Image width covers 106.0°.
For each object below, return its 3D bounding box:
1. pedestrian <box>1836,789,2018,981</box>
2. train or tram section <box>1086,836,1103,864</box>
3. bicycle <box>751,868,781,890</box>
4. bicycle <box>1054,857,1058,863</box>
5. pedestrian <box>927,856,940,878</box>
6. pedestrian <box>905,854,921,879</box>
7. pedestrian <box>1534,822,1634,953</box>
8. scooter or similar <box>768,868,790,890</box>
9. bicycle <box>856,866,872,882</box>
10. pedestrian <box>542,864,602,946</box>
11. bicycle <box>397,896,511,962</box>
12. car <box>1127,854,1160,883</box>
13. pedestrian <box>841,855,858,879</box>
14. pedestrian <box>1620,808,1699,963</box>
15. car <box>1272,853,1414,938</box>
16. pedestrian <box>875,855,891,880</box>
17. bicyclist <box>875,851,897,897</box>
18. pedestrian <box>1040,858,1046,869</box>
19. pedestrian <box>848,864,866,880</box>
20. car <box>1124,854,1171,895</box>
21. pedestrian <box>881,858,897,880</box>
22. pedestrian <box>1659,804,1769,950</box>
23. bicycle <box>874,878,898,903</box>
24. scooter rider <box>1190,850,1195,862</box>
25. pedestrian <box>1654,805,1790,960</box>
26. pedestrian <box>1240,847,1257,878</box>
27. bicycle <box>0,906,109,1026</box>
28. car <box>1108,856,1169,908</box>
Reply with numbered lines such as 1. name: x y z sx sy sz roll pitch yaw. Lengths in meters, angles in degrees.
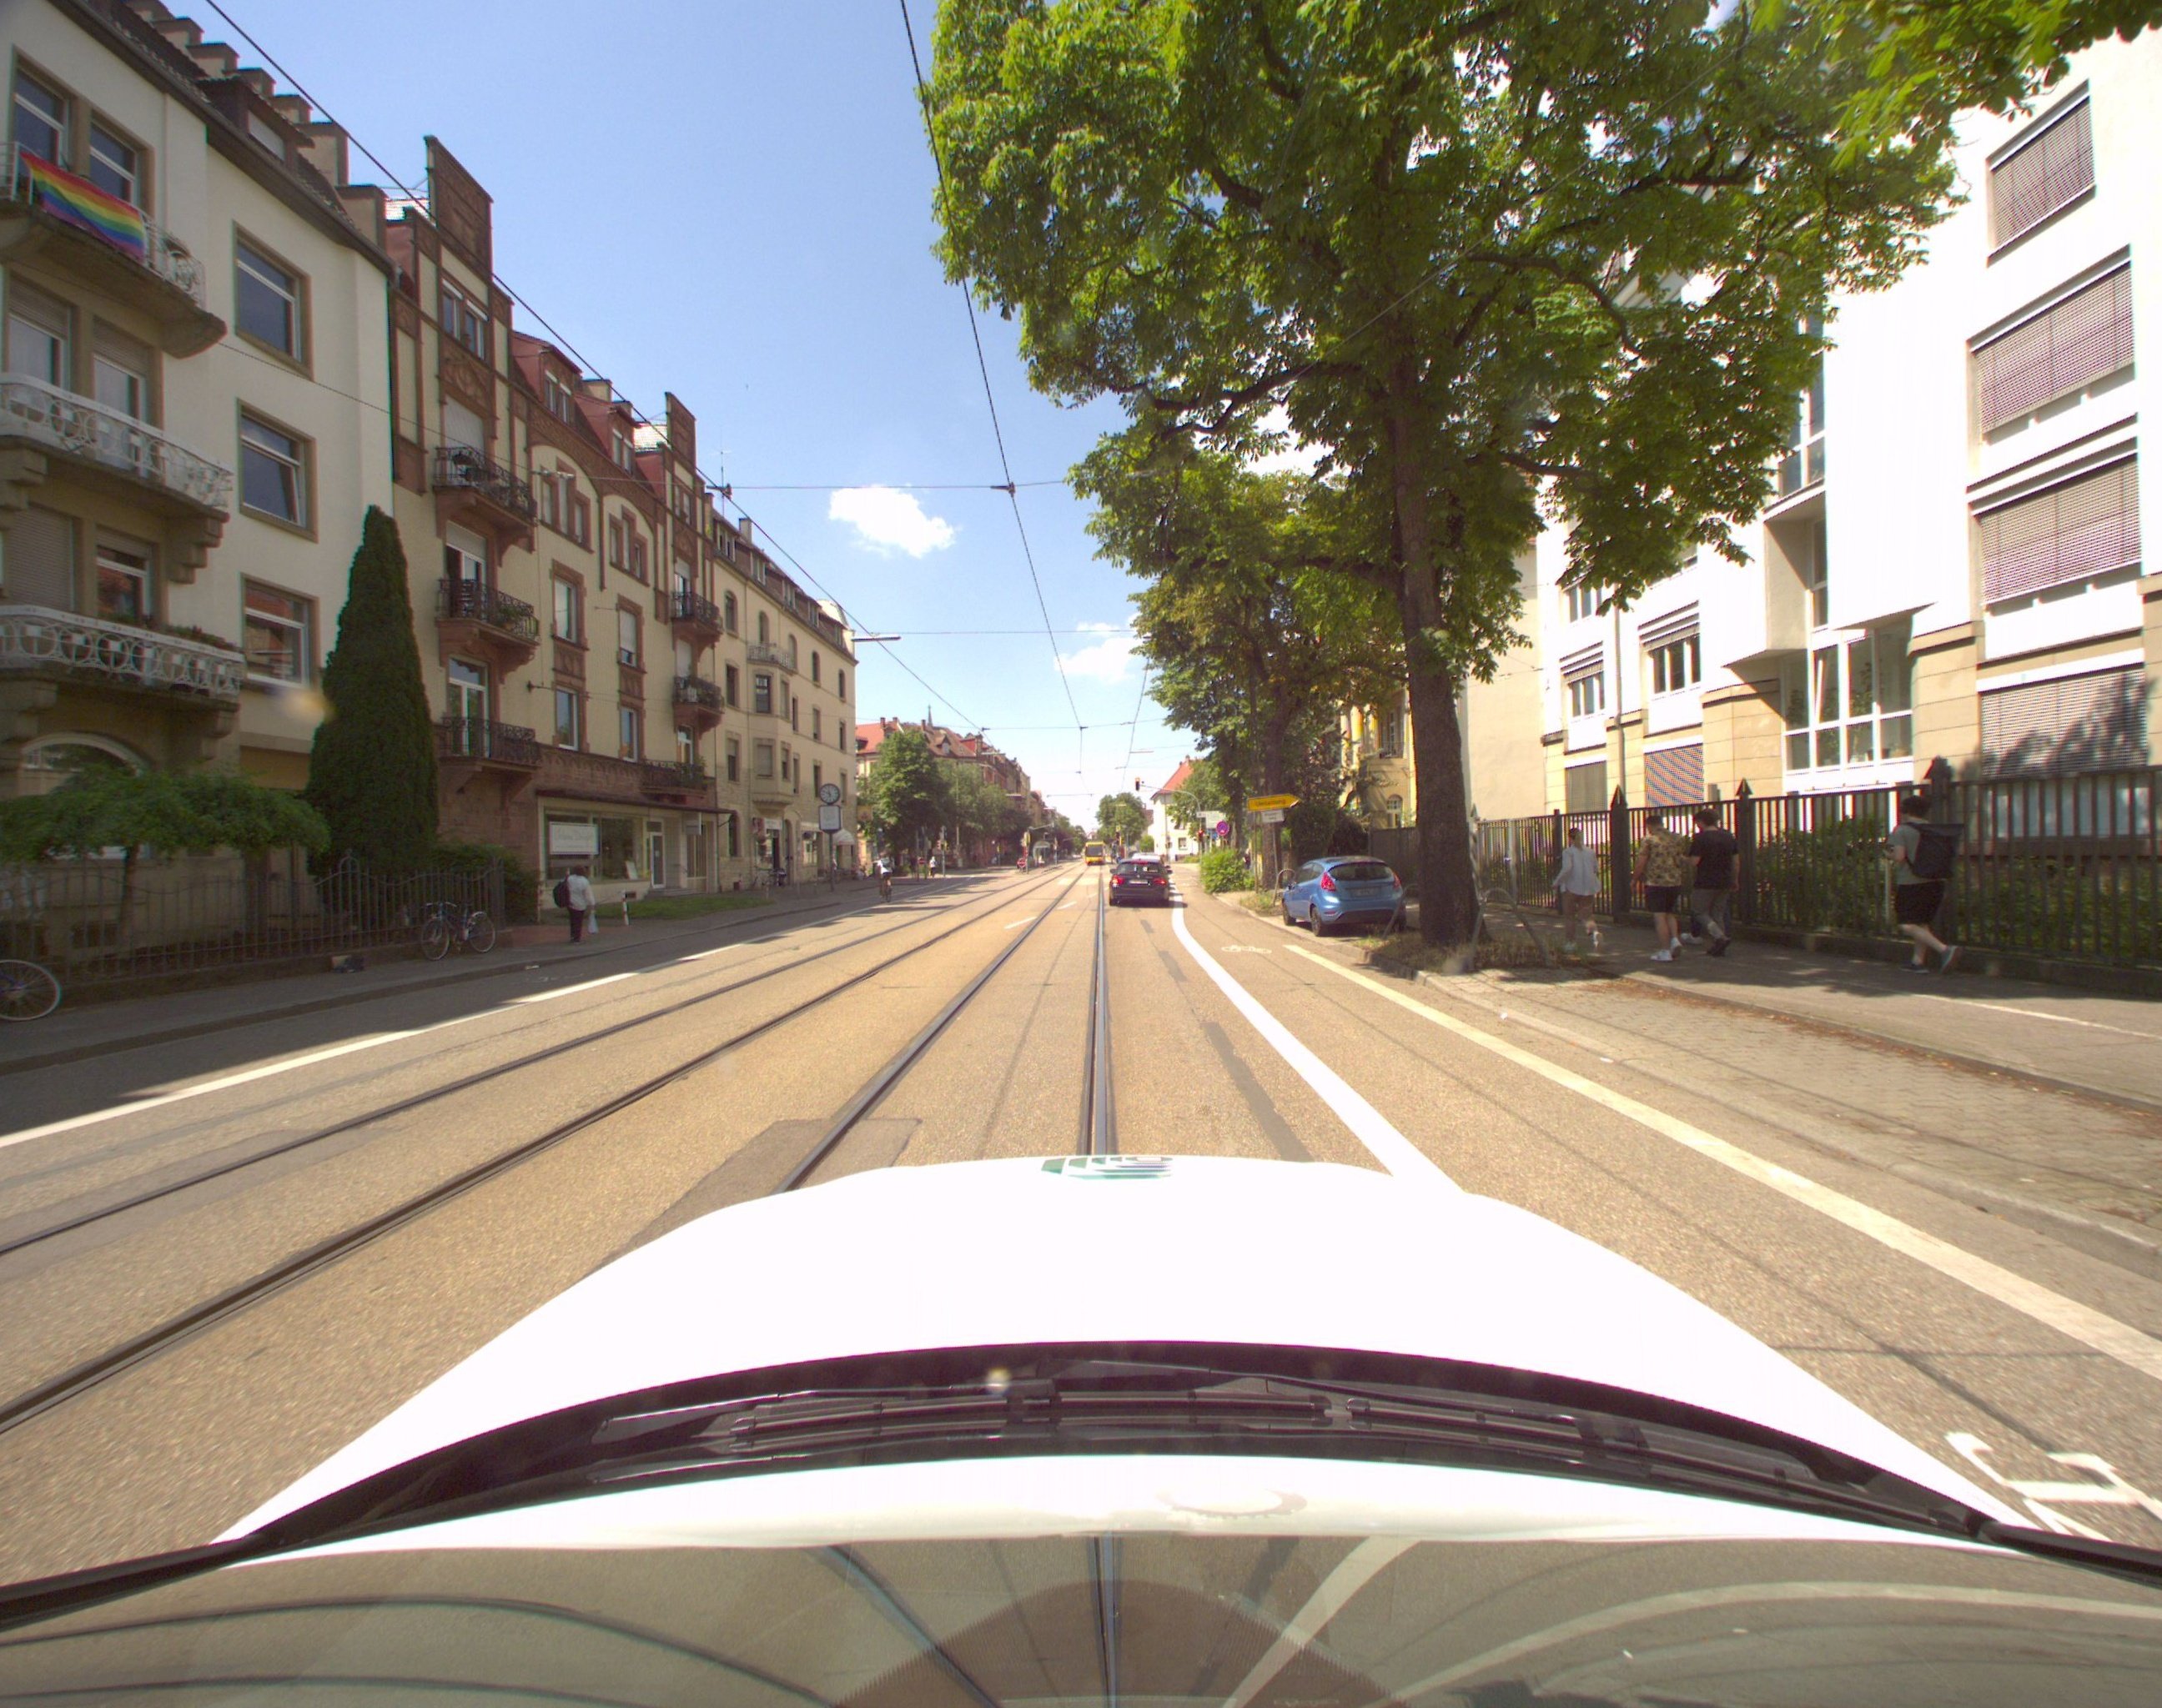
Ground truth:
1. pedestrian: 8.489 0.295 8.233 0.682 1.797 1.084 -2 0 1
2. train or tram section: 1.838 -0.497 108.865 2.182 3.482 8.847 -2 0 1
3. bicycle: -15.184 1.200 39.265 0.366 1.066 1.473 -1 -1 25
4. bicycle: -4.561 1.040 148.910 0.726 1.101 1.716 -2 0 2
5. pedestrian: -11.750 1.051 64.884 0.914 1.723 0.839 -1 0 -5
6. pedestrian: -13.013 0.969 63.112 0.897 1.891 1.165 -1 0 1
7. pedestrian: 6.659 0.429 10.828 0.762 1.651 0.976 -2 0 7
8. scooter or similar: -15.310 1.259 41.269 0.699 1.044 1.196 1 -1 -39
9. bicycle: -15.403 1.420 57.713 0.547 1.128 1.664 -1 -2 -36
10. pedestrian: -10.145 0.985 16.217 0.908 1.542 0.973 -1 0 -37
11. bicycle: -10.498 1.227 13.716 0.409 0.961 1.841 2 -1 1
12. car: 3.407 0.743 43.941 1.683 1.514 3.826 0 0 5
13. pedestrian: -15.967 0.902 56.095 0.914 1.595 0.809 -1 0 -2
14. pedestrian: 7.047 0.360 9.953 0.698 1.776 0.953 -2 0 33
15. car: 5.169 0.755 16.560 1.672 1.443 3.721 -3 0 0
16. pedestrian: -13.899 0.927 57.269 0.780 1.732 0.852 0 0 -43
17. bicyclist: -7.202 0.722 30.053 0.757 1.663 0.827 0 -1 -15
18. pedestrian: -4.136 1.056 89.310 0.612 1.243 0.627 -1 0 -4
19. pedestrian: -14.910 1.190 54.146 0.912 1.077 0.883 -1 0 2
20. car: 2.573 0.766 32.013 1.678 1.484 3.688 -2 0 4
21. pedestrian: -14.220 1.096 60.295 0.857 1.635 1.026 -1 0 0
22. pedestrian: 8.288 0.287 10.708 0.658 1.811 0.977 -2 0 1
23. bicycle: -7.202 1.334 30.057 0.754 0.817 1.810 -1 0 -16
24. scooter rider: 16.105 0.294 117.279 0.589 1.687 0.527 -1 0 -4
25. pedestrian: 7.748 0.330 9.899 0.785 1.761 1.052 -2 0 1
26. pedestrian: 9.265 0.471 45.102 0.852 1.645 0.838 -2 -1 8
27. bicycle: -10.615 1.101 7.720 0.605 1.065 1.772 2 0 1
28. car: 1.807 0.799 25.124 1.714 1.409 4.571 1 0 5
